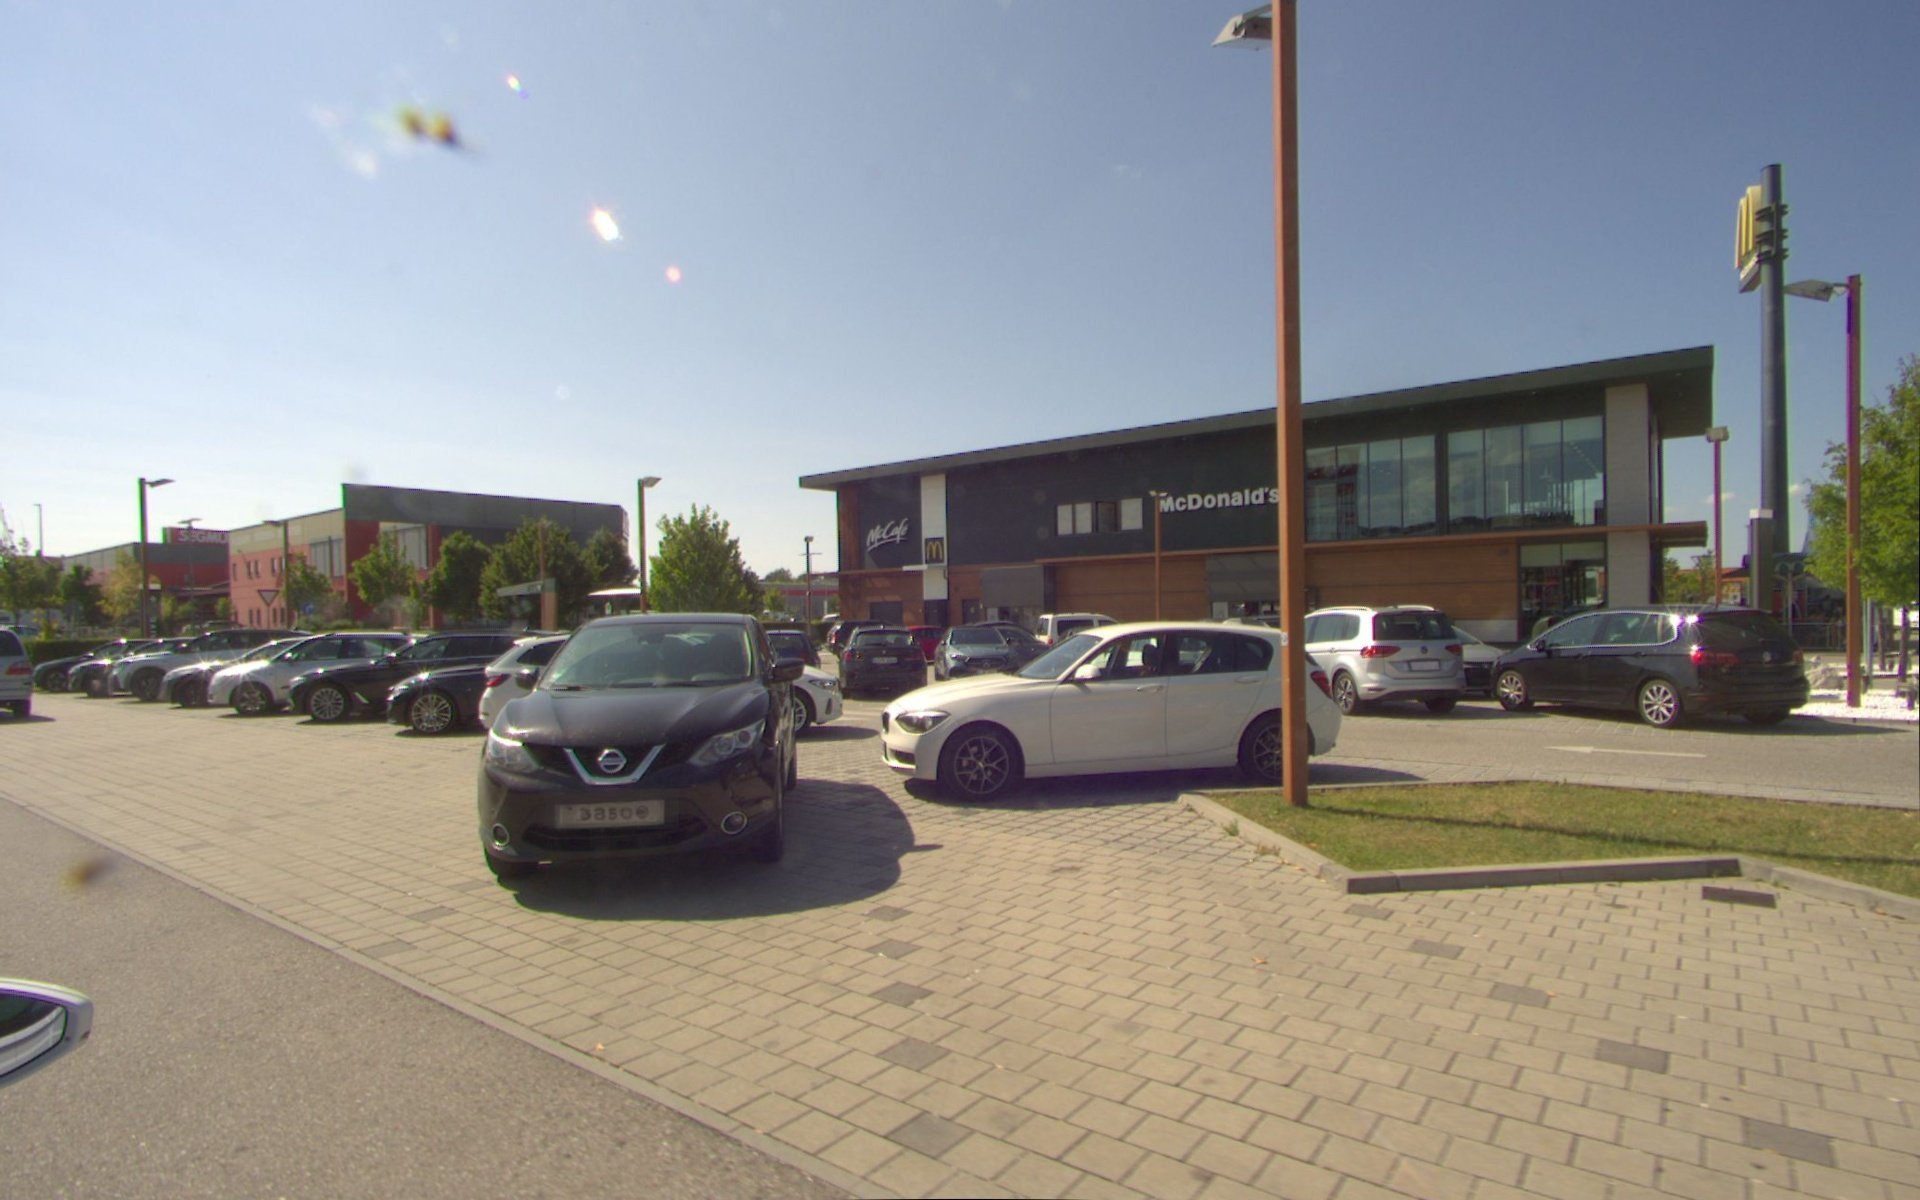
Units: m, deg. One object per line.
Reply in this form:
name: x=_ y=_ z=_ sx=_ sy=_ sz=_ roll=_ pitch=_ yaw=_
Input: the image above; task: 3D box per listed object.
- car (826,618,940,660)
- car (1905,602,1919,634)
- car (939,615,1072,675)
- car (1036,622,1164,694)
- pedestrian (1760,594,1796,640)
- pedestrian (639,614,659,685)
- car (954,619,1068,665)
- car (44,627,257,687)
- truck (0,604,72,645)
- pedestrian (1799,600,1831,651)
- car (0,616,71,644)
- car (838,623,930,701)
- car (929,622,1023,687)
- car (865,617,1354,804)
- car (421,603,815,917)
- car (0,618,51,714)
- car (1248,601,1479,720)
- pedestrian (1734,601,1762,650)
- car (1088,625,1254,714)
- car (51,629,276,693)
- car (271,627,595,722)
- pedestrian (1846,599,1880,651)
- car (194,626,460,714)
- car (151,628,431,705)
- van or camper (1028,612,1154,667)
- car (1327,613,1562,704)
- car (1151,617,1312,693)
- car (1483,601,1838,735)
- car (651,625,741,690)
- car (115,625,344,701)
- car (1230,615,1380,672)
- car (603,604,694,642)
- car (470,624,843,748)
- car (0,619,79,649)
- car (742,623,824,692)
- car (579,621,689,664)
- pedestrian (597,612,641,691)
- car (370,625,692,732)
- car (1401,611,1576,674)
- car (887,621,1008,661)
car: x=-3.172 y=1.584 z=41.036 sx=4.386 sy=1.623 sz=1.960 roll=0 pitch=-1 yaw=-14
car: x=48.616 y=0.891 z=50.055 sx=1.743 sy=1.582 sz=3.853 roll=-1 pitch=-2 yaw=40
car: x=1.398 y=1.395 z=31.529 sx=3.902 sy=1.798 sz=1.645 roll=-1 pitch=-1 yaw=32
car: x=3.197 y=1.304 z=23.869 sx=1.859 sy=1.506 sz=4.644 roll=-1 pitch=-1 yaw=-7
pedestrian: x=28.394 y=0.606 z=34.775 sx=0.708 sy=1.580 sz=0.701 roll=0 pitch=-1 yaw=9
pedestrian: x=-7.998 y=1.270 z=25.761 sx=0.459 sy=1.791 sz=0.552 roll=0 pitch=-1 yaw=-15
car: x=1.845 y=1.516 z=36.893 sx=3.878 sy=1.535 sz=1.712 roll=-1 pitch=1 yaw=-13
car: x=-22.841 y=1.579 z=28.419 sx=4.250 sy=1.546 sz=1.974 roll=0 pitch=0 yaw=-9
truck: x=-67.397 y=1.759 z=70.533 sx=1.931 sy=2.851 sz=7.012 roll=-1 pitch=-1 yaw=37
pedestrian: x=26.652 y=0.791 z=31.209 sx=0.693 sy=1.580 sz=0.717 roll=-1 pitch=0 yaw=38
car: x=-64.828 y=2.054 z=69.488 sx=1.931 sy=1.879 sz=4.376 roll=-1 pitch=-1 yaw=37
car: x=-1.743 y=1.267 z=21.772 sx=1.778 sy=1.506 sz=4.280 roll=-1 pitch=-1 yaw=-7
car: x=0.318 y=1.367 z=26.361 sx=1.859 sy=1.506 sz=4.644 roll=-1 pitch=-1 yaw=-7
car: x=1.259 y=0.923 z=9.401 sx=4.128 sy=1.478 sz=1.974 roll=0 pitch=-1 yaw=-10
car: x=-2.084 y=0.851 z=7.389 sx=1.821 sy=1.611 sz=4.302 roll=0 pitch=-1 yaw=-6
car: x=-19.627 y=1.276 z=19.641 sx=4.624 sy=1.771 sz=1.821 roll=-2 pitch=-1 yaw=37
car: x=6.484 y=0.933 z=16.649 sx=1.778 sy=1.696 sz=4.114 roll=-1 pitch=-1 yaw=-7
pedestrian: x=25.525 y=0.830 z=32.441 sx=0.693 sy=1.580 sz=0.717 roll=-1 pitch=0 yaw=38
car: x=3.760 y=1.192 z=18.599 sx=1.778 sy=1.431 sz=4.114 roll=-1 pitch=-1 yaw=-7
car: x=-20.635 y=1.542 z=26.155 sx=4.132 sy=1.546 sz=1.973 roll=0 pitch=-1 yaw=-16
car: x=-9.135 y=1.255 z=17.782 sx=4.694 sy=1.506 sz=1.974 roll=0 pitch=-1 yaw=-11
pedestrian: x=27.763 y=0.773 z=30.791 sx=0.693 sy=1.580 sz=0.717 roll=-1 pitch=0 yaw=38
car: x=-12.208 y=1.298 z=19.676 sx=4.139 sy=1.546 sz=1.969 roll=0 pitch=-1 yaw=-23
car: x=-14.596 y=1.410 z=22.171 sx=4.758 sy=1.546 sz=1.973 roll=0 pitch=-1 yaw=-15
van or camper: x=4.468 y=1.328 z=34.469 sx=3.953 sy=1.798 sz=1.711 roll=0 pitch=-1 yaw=-10
car: x=9.087 y=1.033 z=19.320 sx=1.859 sy=1.506 sz=4.644 roll=-1 pitch=-1 yaw=-7
car: x=5.942 y=1.170 z=22.549 sx=1.859 sy=1.506 sz=4.644 roll=-1 pitch=-1 yaw=-7
car: x=9.428 y=0.856 z=13.935 sx=1.722 sy=1.572 sz=3.998 roll=0 pitch=-1 yaw=-10
car: x=-6.787 y=1.434 z=26.104 sx=1.679 sy=1.512 sz=4.114 roll=-1 pitch=-1 yaw=-7
car: x=-17.561 y=1.465 z=24.337 sx=4.139 sy=1.676 sz=1.969 roll=0 pitch=-1 yaw=-23
car: x=10.407 y=1.296 z=30.327 sx=3.960 sy=1.634 sz=1.716 roll=0 pitch=-1 yaw=-9
car: x=-18.886 y=1.405 z=60.857 sx=1.975 sy=2.225 sz=5.071 roll=-1 pitch=-1 yaw=38
car: x=-3.902 y=1.074 z=13.486 sx=4.498 sy=1.478 sz=1.835 roll=0 pitch=-1 yaw=-11
car: x=-61.115 y=2.229 z=65.915 sx=1.931 sy=1.879 sz=4.376 roll=-1 pitch=-1 yaw=37
car: x=-4.348 y=1.376 z=25.084 sx=1.778 sy=1.535 sz=4.114 roll=-1 pitch=-1 yaw=-7
car: x=-13.887 y=1.782 z=42.828 sx=1.969 sy=1.713 sz=4.213 roll=-1 pitch=-1 yaw=32
pedestrian: x=-8.258 y=1.226 z=24.250 sx=0.762 sy=1.873 sz=0.827 roll=0 pitch=-1 yaw=-39
car: x=-6.412 y=1.141 z=15.469 sx=4.289 sy=1.478 sz=1.835 roll=0 pitch=-1 yaw=-13
car: x=14.311 y=1.132 z=27.206 sx=3.960 sy=1.634 sz=1.716 roll=0 pitch=-1 yaw=-9
car: x=-0.509 y=1.565 z=39.086 sx=4.388 sy=1.484 sz=1.960 roll=0 pitch=-1 yaw=-16
